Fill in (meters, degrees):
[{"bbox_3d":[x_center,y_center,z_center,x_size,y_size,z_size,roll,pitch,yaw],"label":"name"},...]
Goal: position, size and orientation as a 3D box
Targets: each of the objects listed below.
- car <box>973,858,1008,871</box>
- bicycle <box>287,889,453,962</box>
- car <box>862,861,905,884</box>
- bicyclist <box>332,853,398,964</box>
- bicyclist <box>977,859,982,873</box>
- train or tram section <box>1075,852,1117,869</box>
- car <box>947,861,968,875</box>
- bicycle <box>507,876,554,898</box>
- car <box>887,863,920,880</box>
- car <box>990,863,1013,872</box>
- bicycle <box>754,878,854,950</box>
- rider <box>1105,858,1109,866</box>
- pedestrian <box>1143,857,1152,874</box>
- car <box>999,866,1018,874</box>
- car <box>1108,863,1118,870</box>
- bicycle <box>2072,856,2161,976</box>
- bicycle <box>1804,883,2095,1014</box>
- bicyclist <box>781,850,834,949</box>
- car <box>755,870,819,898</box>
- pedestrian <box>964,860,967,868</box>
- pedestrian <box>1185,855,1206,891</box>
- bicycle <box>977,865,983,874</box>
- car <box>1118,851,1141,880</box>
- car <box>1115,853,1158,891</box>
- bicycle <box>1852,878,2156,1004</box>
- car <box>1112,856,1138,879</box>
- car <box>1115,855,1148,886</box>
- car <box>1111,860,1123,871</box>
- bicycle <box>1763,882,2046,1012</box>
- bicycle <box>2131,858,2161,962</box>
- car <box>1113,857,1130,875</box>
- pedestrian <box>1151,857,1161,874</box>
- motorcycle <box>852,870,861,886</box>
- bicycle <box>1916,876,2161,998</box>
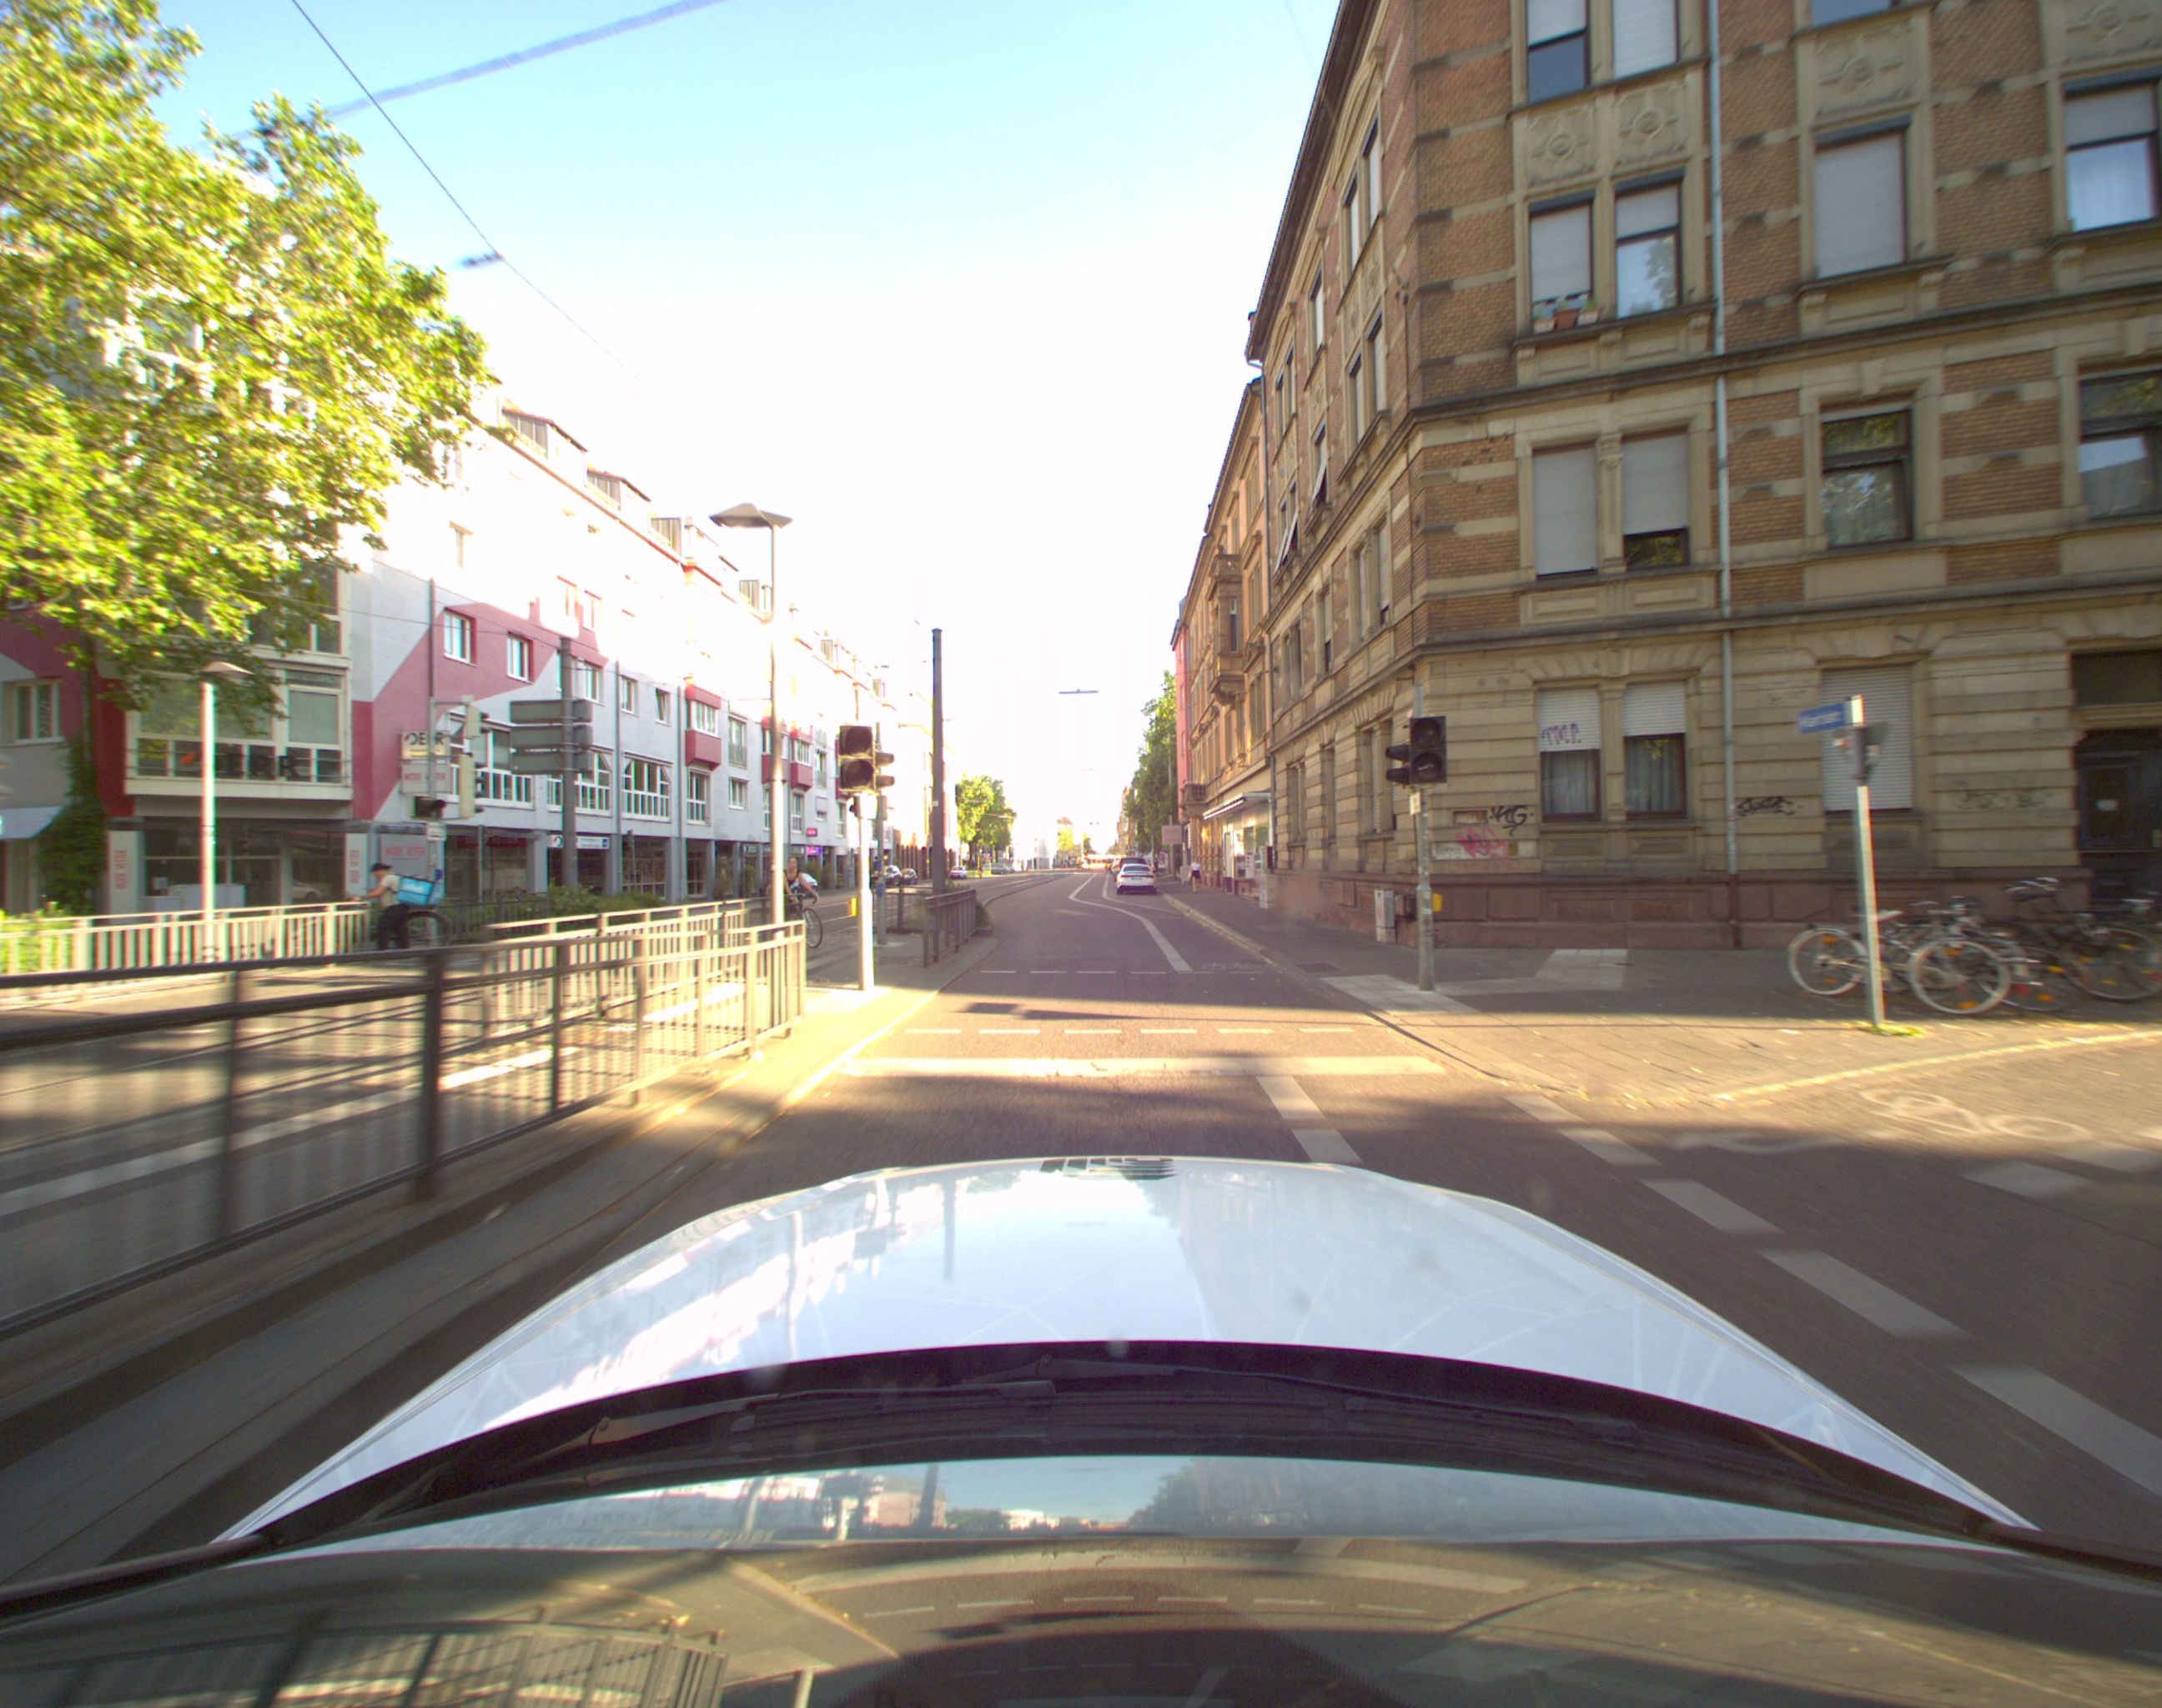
[{"bbox_3d":[-15.139,1.793,136.224,5.285,2.043,2.395,2,-3,-31],"label":"car"},{"bbox_3d":[-11.347,1.120,13.094,1.906,1.078,0.578,2,-1,-33],"label":"bicycle"},{"bbox_3d":[-15.505,1.449,64.135,2.083,1.713,4.819,1,-2,1],"label":"car"},{"bbox_3d":[-11.431,0.849,13.019,0.749,1.712,0.528,0,-1,-38],"label":"bicyclist"},{"bbox_3d":[-12.318,1.493,98.871,0.570,1.712,0.744,-3,-1,-5],"label":"bicyclist"},{"bbox_3d":[3.795,1.693,205.412,12.156,3.960,2.668,2,-1,-44],"label":"train or tram section"},{"bbox_3d":[-14.854,1.678,98.164,1.864,1.600,4.252,0,0,-1],"label":"car"},{"bbox_3d":[-18.936,1.124,28.041,0.455,0.658,1.808,2,-1,-3],"label":"bicycle"},{"bbox_3d":[-15.552,1.542,71.654,1.861,1.450,3.588,0,-1,5],"label":"car"},{"bbox_3d":[-15.205,2.593,155.500,3.892,1.627,1.858,1,-1,-29],"label":"car"},{"bbox_3d":[-4.688,0.983,13.727,1.875,1.078,0.588,1,-1,35],"label":"bicycle"},{"bbox_3d":[5.207,1.605,163.988,0.880,1.481,0.713,1,-1,2],"label":"rider"},{"bbox_3d":[6.252,1.073,76.765,0.772,1.567,0.914,-4,-1,3],"label":"pedestrian"},{"bbox_3d":[-14.829,3.203,165.832,3.541,1.481,1.567,1,-1,-30],"label":"car"},{"bbox_3d":[6.836,2.641,176.078,2.058,1.389,4.226,2,-1,2],"label":"car"},{"bbox_3d":[11.181,0.608,7.777,0.616,1.182,2.089,0,0,-24],"label":"bicycle"},{"bbox_3d":[8.107,0.822,7.745,0.418,1.025,1.897,0,0,-17],"label":"bicycle"},{"bbox_3d":[-4.555,0.734,13.550,0.736,1.578,0.537,-1,-1,44],"label":"bicyclist"},{"bbox_3d":[-16.165,1.630,45.045,1.864,1.439,4.705,0,-1,-1],"label":"car"},{"bbox_3d":[-18.882,1.605,132.824,0.363,1.343,0.480,2,-1,-18],"label":"pedestrian"},{"bbox_3d":[5.265,0.863,37.448,0.772,1.567,0.915,-4,-1,4],"label":"pedestrian"},{"bbox_3d":[-12.278,1.849,98.649,0.581,1.077,2.182,-3,-1,-5],"label":"bicycle"},{"bbox_3d":[3.790,0.909,62.720,1.697,2.120,3.711,0,-1,5],"label":"car"},{"bbox_3d":[2.699,0.857,40.079,1.959,1.771,4.878,0,-1,3],"label":"car"},{"bbox_3d":[8.824,0.769,7.908,0.464,1.039,1.891,0,0,-26],"label":"bicycle"},{"bbox_3d":[3.634,1.131,68.105,1.943,1.788,5.181,1,-1,1],"label":"car"},{"bbox_3d":[3.194,1.008,51.998,1.947,1.869,4.992,1,-1,3],"label":"car"},{"bbox_3d":[5.144,1.637,116.514,1.716,1.568,4.084,-2,-1,1],"label":"car"},{"bbox_3d":[7.698,0.810,7.755,0.452,1.025,1.897,0,0,-17],"label":"bicycle"},{"bbox_3d":[12.125,0.595,8.135,0.447,1.123,1.942,0,0,-22],"label":"bicycle"},{"bbox_3d":[4.875,1.391,97.744,1.963,2.014,4.561,-2,-1,3],"label":"car"},{"bbox_3d":[7.053,1.095,76.760,0.772,1.567,0.914,-4,-1,3],"label":"pedestrian"},{"bbox_3d":[-17.168,1.803,62.308,0.671,1.205,2.130,1,-2,-15],"label":"motorcycle"},{"bbox_3d":[9.386,0.741,7.803,0.497,1.025,1.895,0,0,-19],"label":"bicycle"}]
